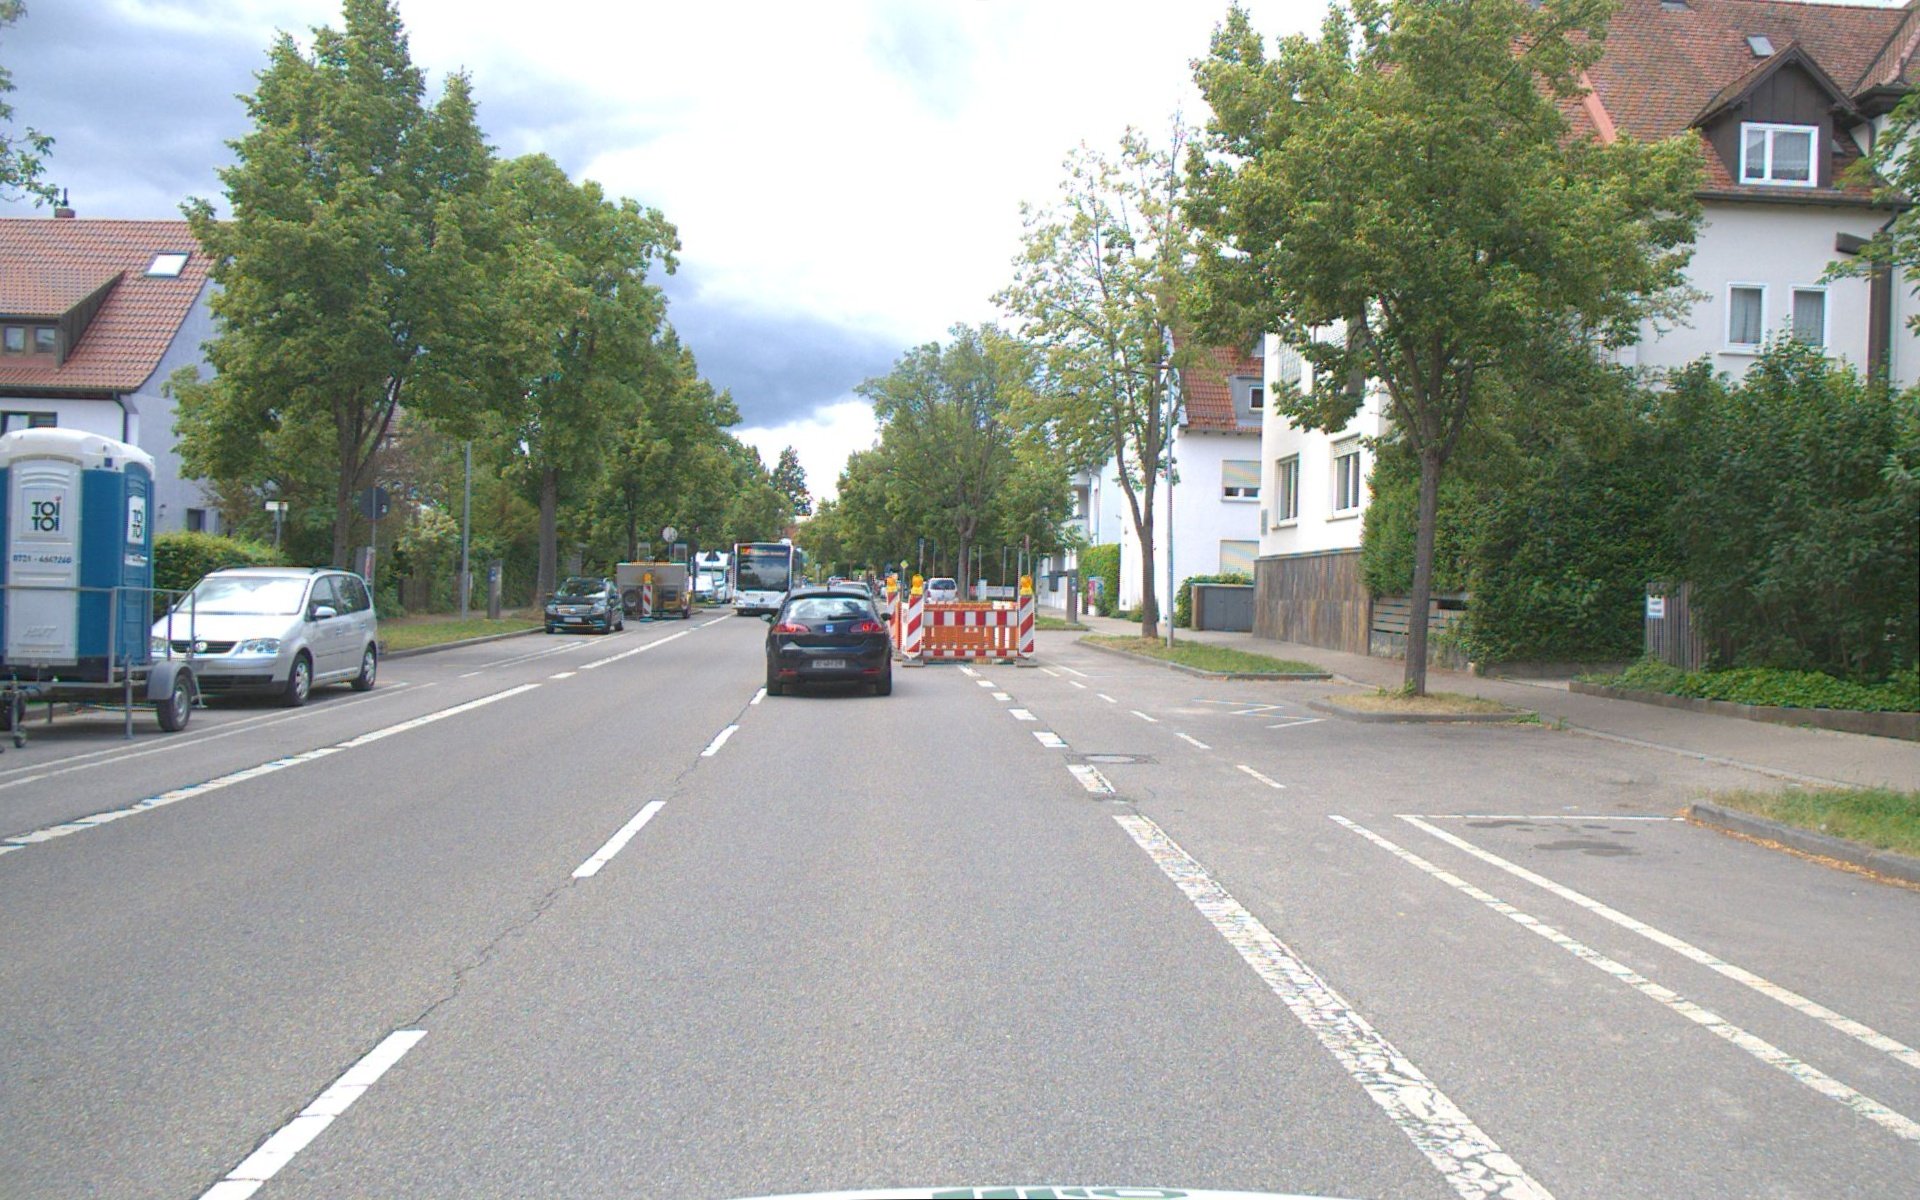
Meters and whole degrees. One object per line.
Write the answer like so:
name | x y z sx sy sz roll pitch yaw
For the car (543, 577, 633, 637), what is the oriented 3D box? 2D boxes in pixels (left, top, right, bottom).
car | -10.486 0.235 46.900 1.824 1.580 4.615 1 -1 -5

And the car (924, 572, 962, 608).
car | -0.842 -0.498 80.645 1.600 1.694 3.644 1 1 -5

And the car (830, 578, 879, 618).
car | -4.387 -0.100 69.386 1.954 1.585 3.998 1 0 -3

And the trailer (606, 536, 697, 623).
trailer | -11.448 -0.732 61.855 2.622 2.992 7.467 1 0 -6

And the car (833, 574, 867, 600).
car | -6.928 -0.808 103.746 1.955 1.556 3.994 1 1 -7

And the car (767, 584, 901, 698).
car | -1.807 0.517 23.366 1.748 1.474 3.554 0 1 -5

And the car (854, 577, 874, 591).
car | -10.416 -1.697 179.072 1.652 1.457 4.035 1 1 -10

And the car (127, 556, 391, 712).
car | -8.535 0.380 20.549 1.655 1.713 4.222 1 0 -3

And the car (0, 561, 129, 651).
car | -17.169 0.040 29.263 3.994 1.458 1.802 2 1 4

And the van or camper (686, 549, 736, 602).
van or camper | -14.861 -1.456 99.221 2.387 3.062 7.686 1 1 -5

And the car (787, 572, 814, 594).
car | -12.930 -1.394 134.063 1.954 1.697 4.586 -1 1 -3

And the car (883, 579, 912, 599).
car | -4.694 -0.839 124.112 1.981 1.468 5.021 1 1 -4

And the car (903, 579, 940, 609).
car | -2.052 -0.309 86.323 1.654 1.519 4.223 0 1 -5

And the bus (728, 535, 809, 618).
bus | -8.654 -0.959 76.759 2.749 3.346 18.031 1 0 -4

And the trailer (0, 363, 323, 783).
trailer | -8.031 -0.224 14.237 2.323 3.015 7.011 0 1 0
